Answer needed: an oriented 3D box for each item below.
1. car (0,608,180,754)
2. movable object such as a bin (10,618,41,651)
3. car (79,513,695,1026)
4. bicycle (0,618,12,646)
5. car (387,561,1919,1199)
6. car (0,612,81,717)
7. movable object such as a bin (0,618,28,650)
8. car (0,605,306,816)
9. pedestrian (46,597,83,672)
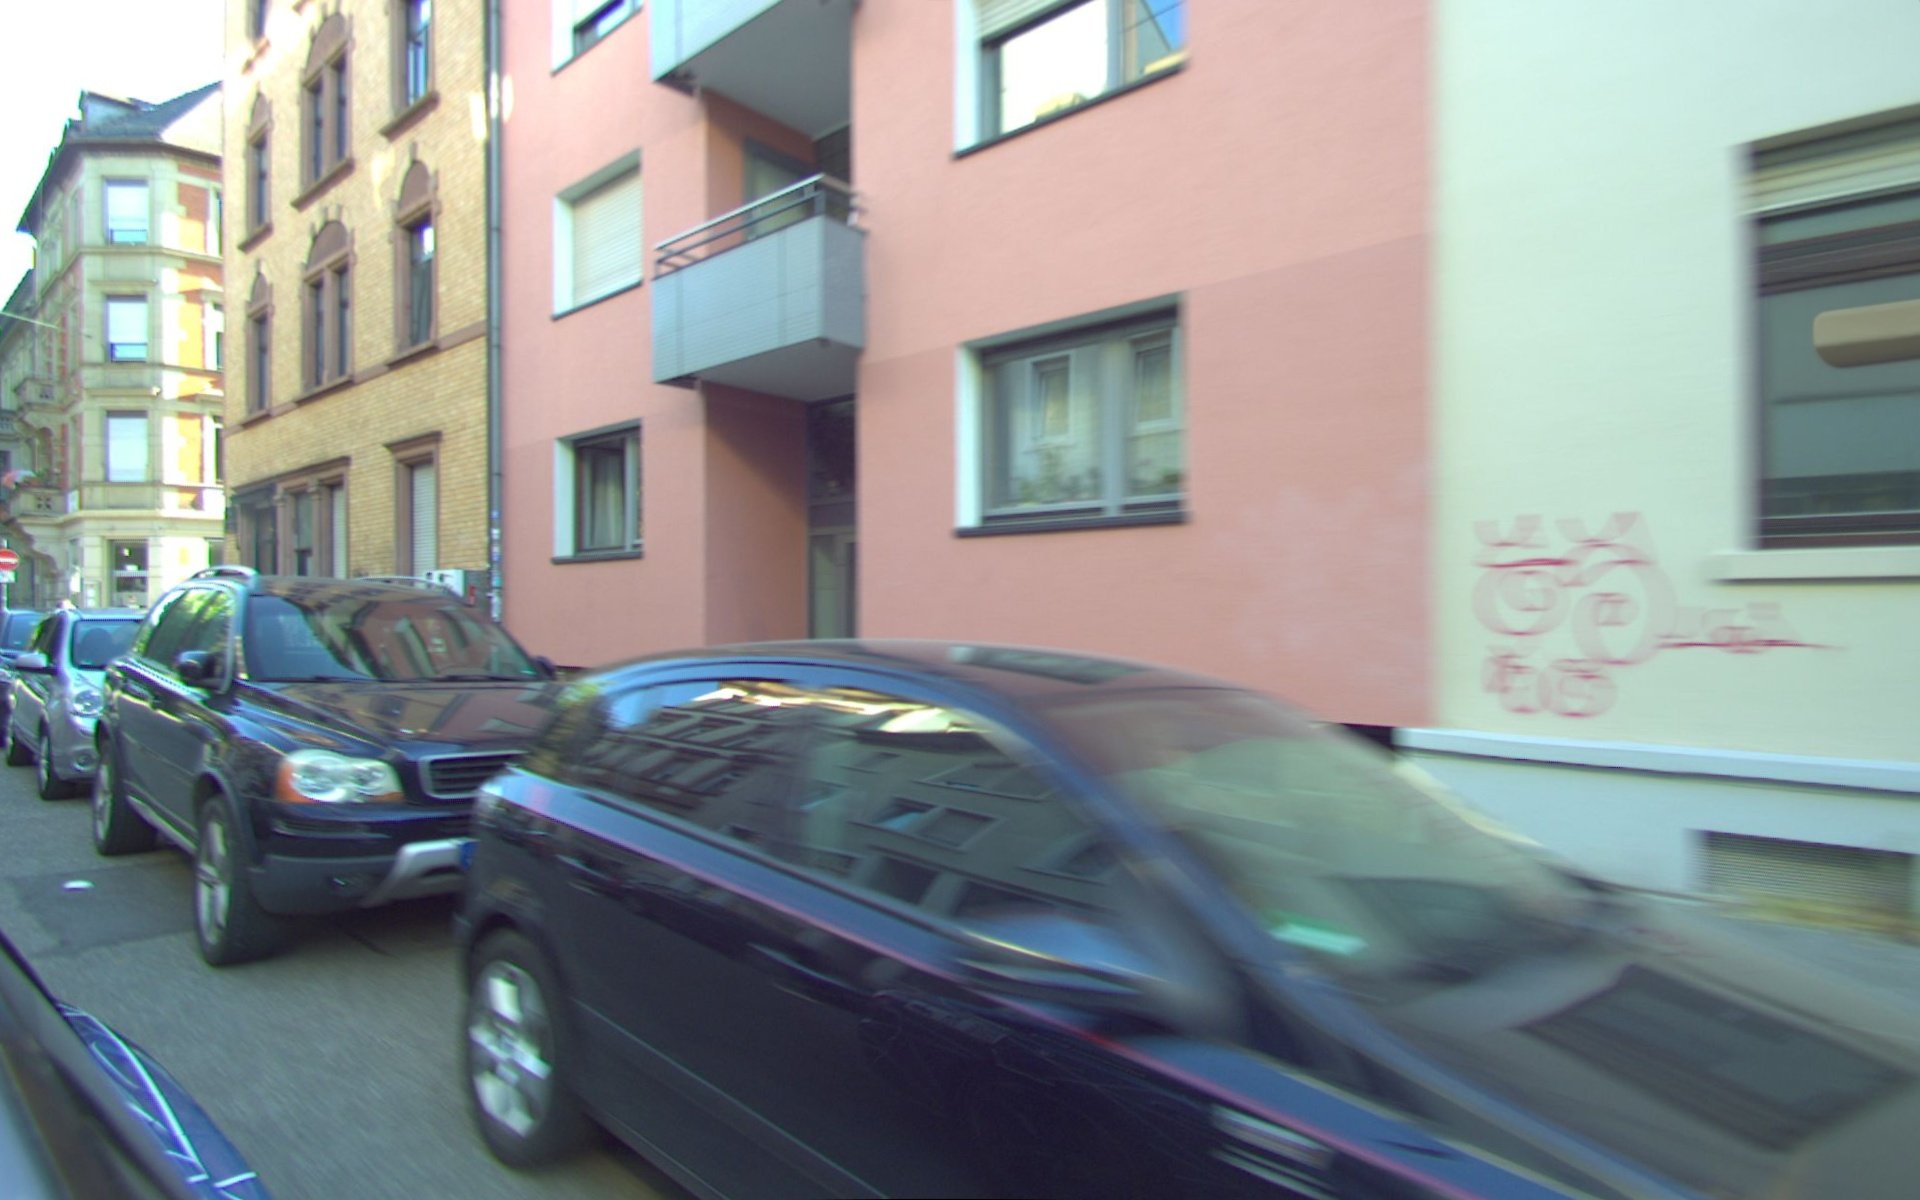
[{"bbox_3d":[-11.125,0.902,12.491,4.095,1.533,1.677,-1,-3,43],"label":"car"},{"bbox_3d":[-31.543,1.165,34.154,0.856,1.049,0.631,-1,1,41],"label":"movable object such as a bin"},{"bbox_3d":[-3.592,0.658,5.850,4.672,1.825,1.724,-1,-3,43],"label":"car"},{"bbox_3d":[-37.328,1.248,39.288,1.545,1.049,0.565,-1,1,41],"label":"bicycle"},{"bbox_3d":[0.340,0.775,2.432,4.346,1.518,1.724,-1,-3,43],"label":"car"},{"bbox_3d":[-14.977,0.943,15.588,3.598,1.492,1.611,-1,-3,40],"label":"car"},{"bbox_3d":[-33.279,1.184,35.576,0.856,1.049,0.631,-1,1,41],"label":"movable object such as a bin"},{"bbox_3d":[-7.587,0.860,9.348,3.944,1.533,1.638,-1,-3,43],"label":"car"},{"bbox_3d":[-20.470,0.775,23.138,0.717,1.656,0.542,2,2,41],"label":"pedestrian"}]
